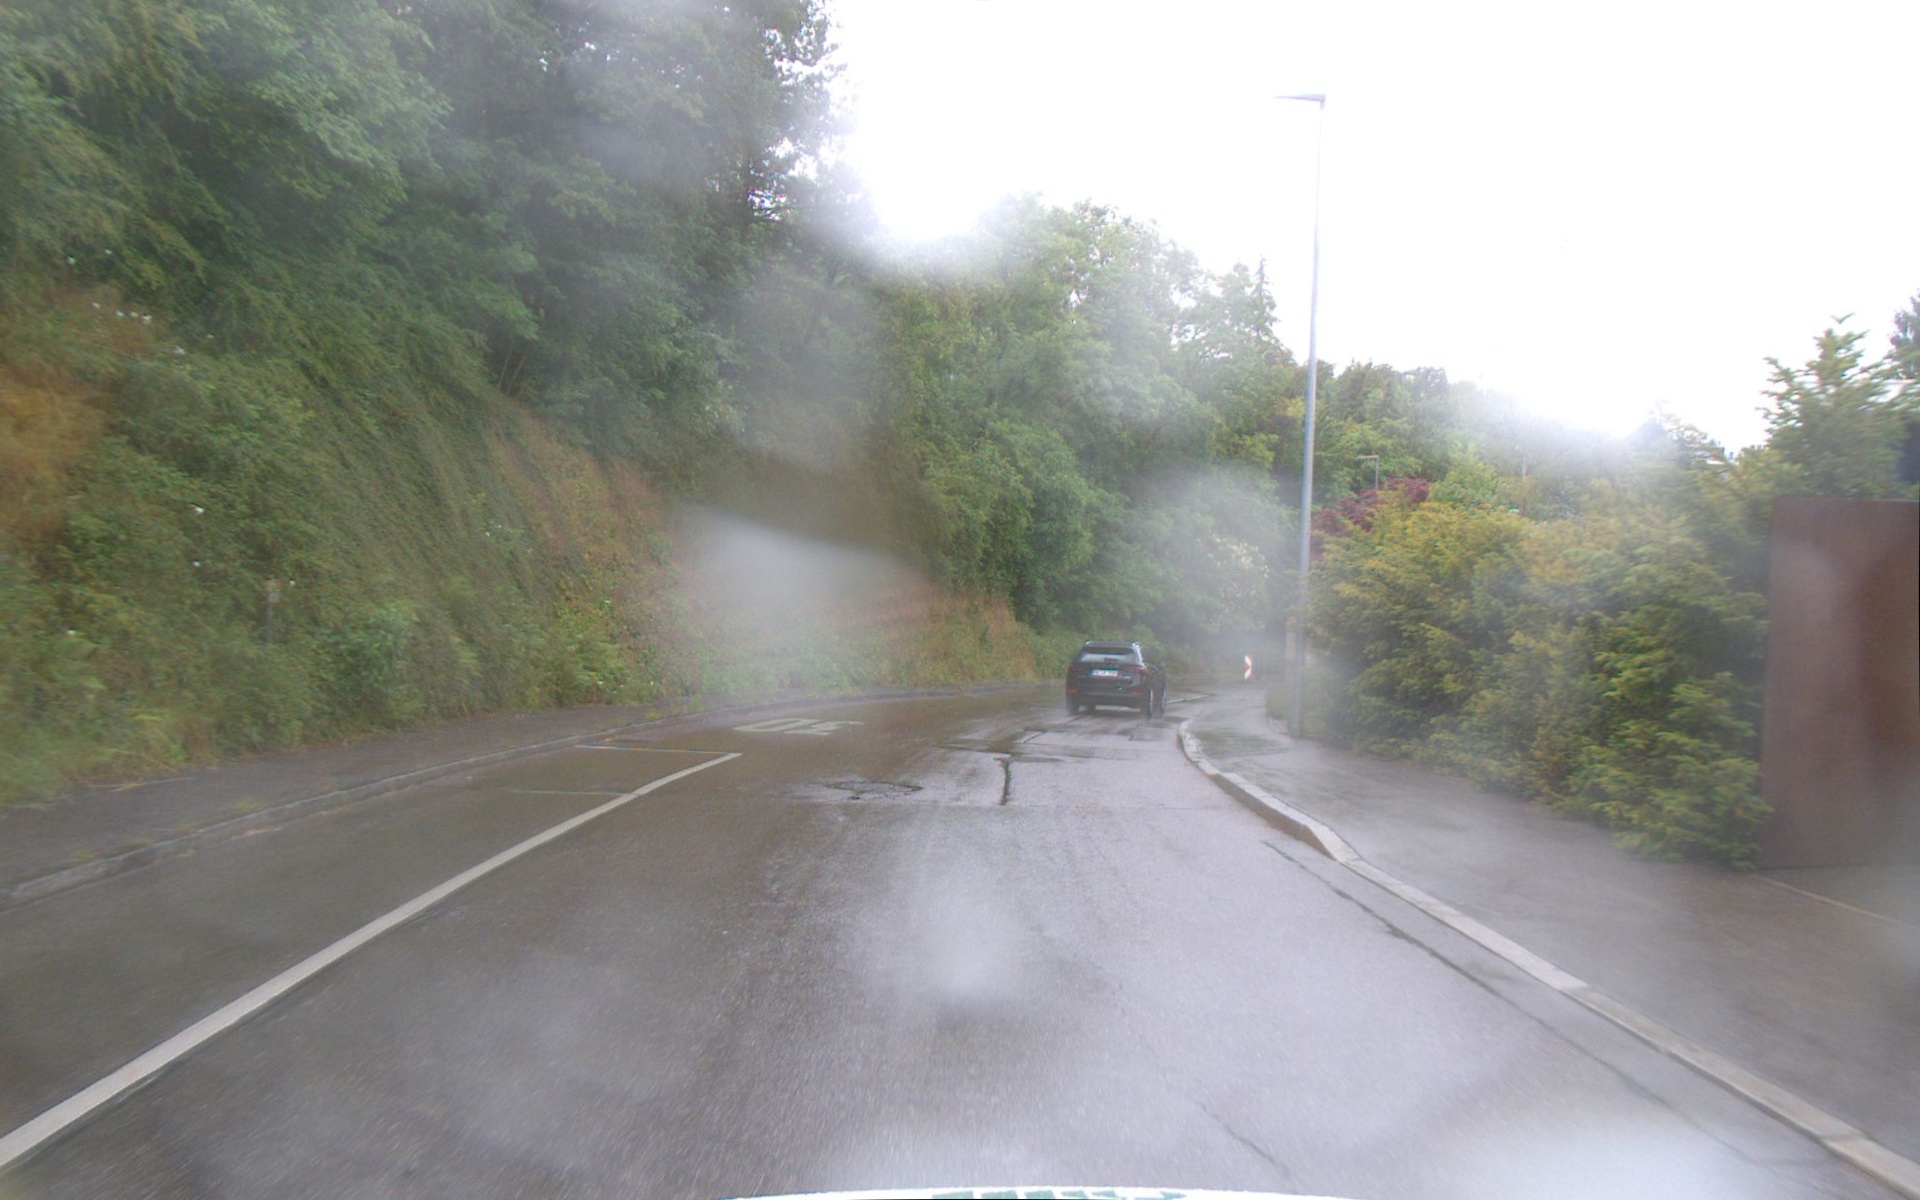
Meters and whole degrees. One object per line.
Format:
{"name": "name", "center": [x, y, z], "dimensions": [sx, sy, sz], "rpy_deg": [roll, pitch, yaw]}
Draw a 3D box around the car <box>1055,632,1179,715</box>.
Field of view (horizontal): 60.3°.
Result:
{"name": "car", "center": [3.307, 1.491, 34.221], "dimensions": [1.829, 1.539, 4.095], "rpy_deg": [2, -1, 15]}
